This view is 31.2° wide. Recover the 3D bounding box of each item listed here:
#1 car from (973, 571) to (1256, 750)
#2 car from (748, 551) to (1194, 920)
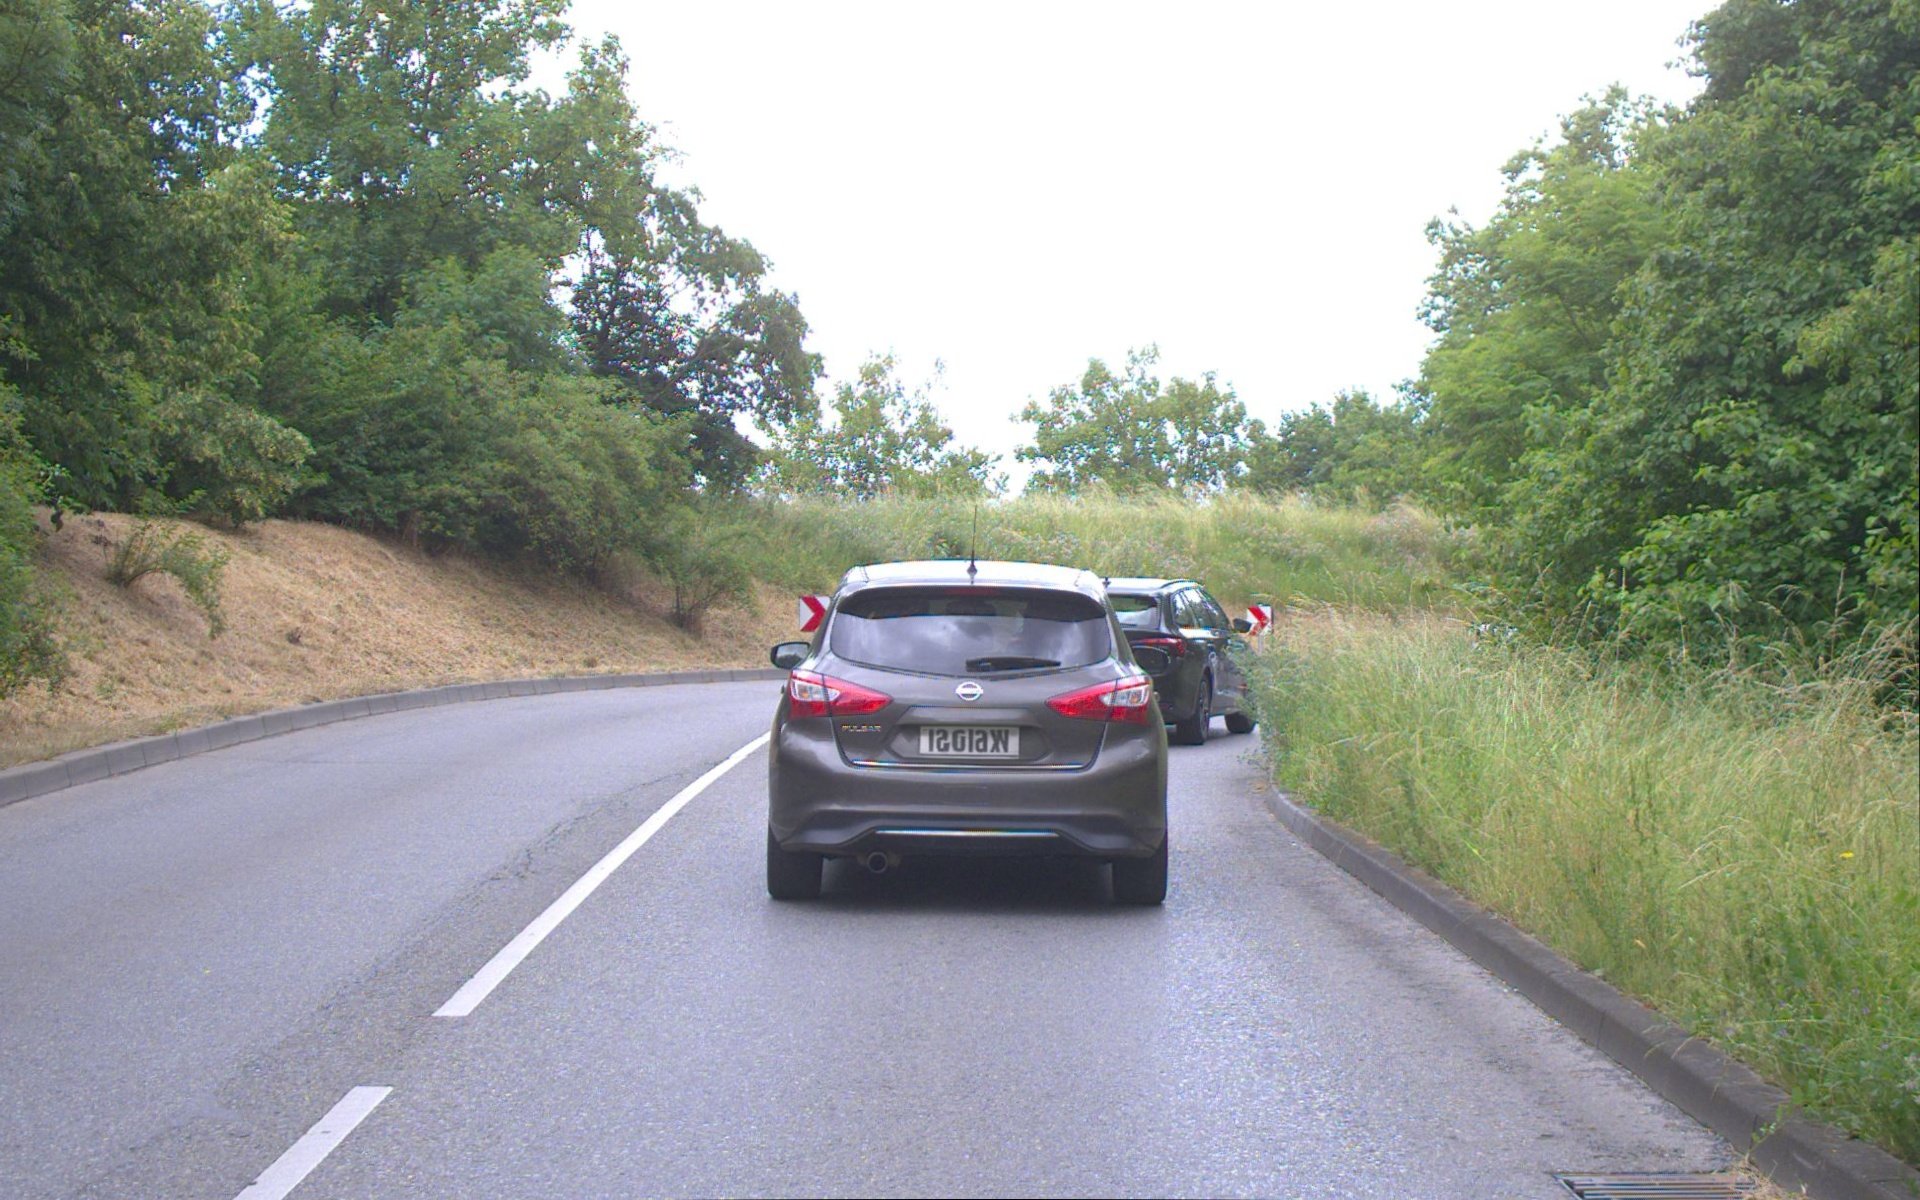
[{"bbox_3d":[1.486,0.498,31.473,1.901,1.461,3.998,1,1,12],"label":"car"},{"bbox_3d":[-0.044,0.545,16.425,1.844,1.488,4.001,1,1,-3],"label":"car"}]
